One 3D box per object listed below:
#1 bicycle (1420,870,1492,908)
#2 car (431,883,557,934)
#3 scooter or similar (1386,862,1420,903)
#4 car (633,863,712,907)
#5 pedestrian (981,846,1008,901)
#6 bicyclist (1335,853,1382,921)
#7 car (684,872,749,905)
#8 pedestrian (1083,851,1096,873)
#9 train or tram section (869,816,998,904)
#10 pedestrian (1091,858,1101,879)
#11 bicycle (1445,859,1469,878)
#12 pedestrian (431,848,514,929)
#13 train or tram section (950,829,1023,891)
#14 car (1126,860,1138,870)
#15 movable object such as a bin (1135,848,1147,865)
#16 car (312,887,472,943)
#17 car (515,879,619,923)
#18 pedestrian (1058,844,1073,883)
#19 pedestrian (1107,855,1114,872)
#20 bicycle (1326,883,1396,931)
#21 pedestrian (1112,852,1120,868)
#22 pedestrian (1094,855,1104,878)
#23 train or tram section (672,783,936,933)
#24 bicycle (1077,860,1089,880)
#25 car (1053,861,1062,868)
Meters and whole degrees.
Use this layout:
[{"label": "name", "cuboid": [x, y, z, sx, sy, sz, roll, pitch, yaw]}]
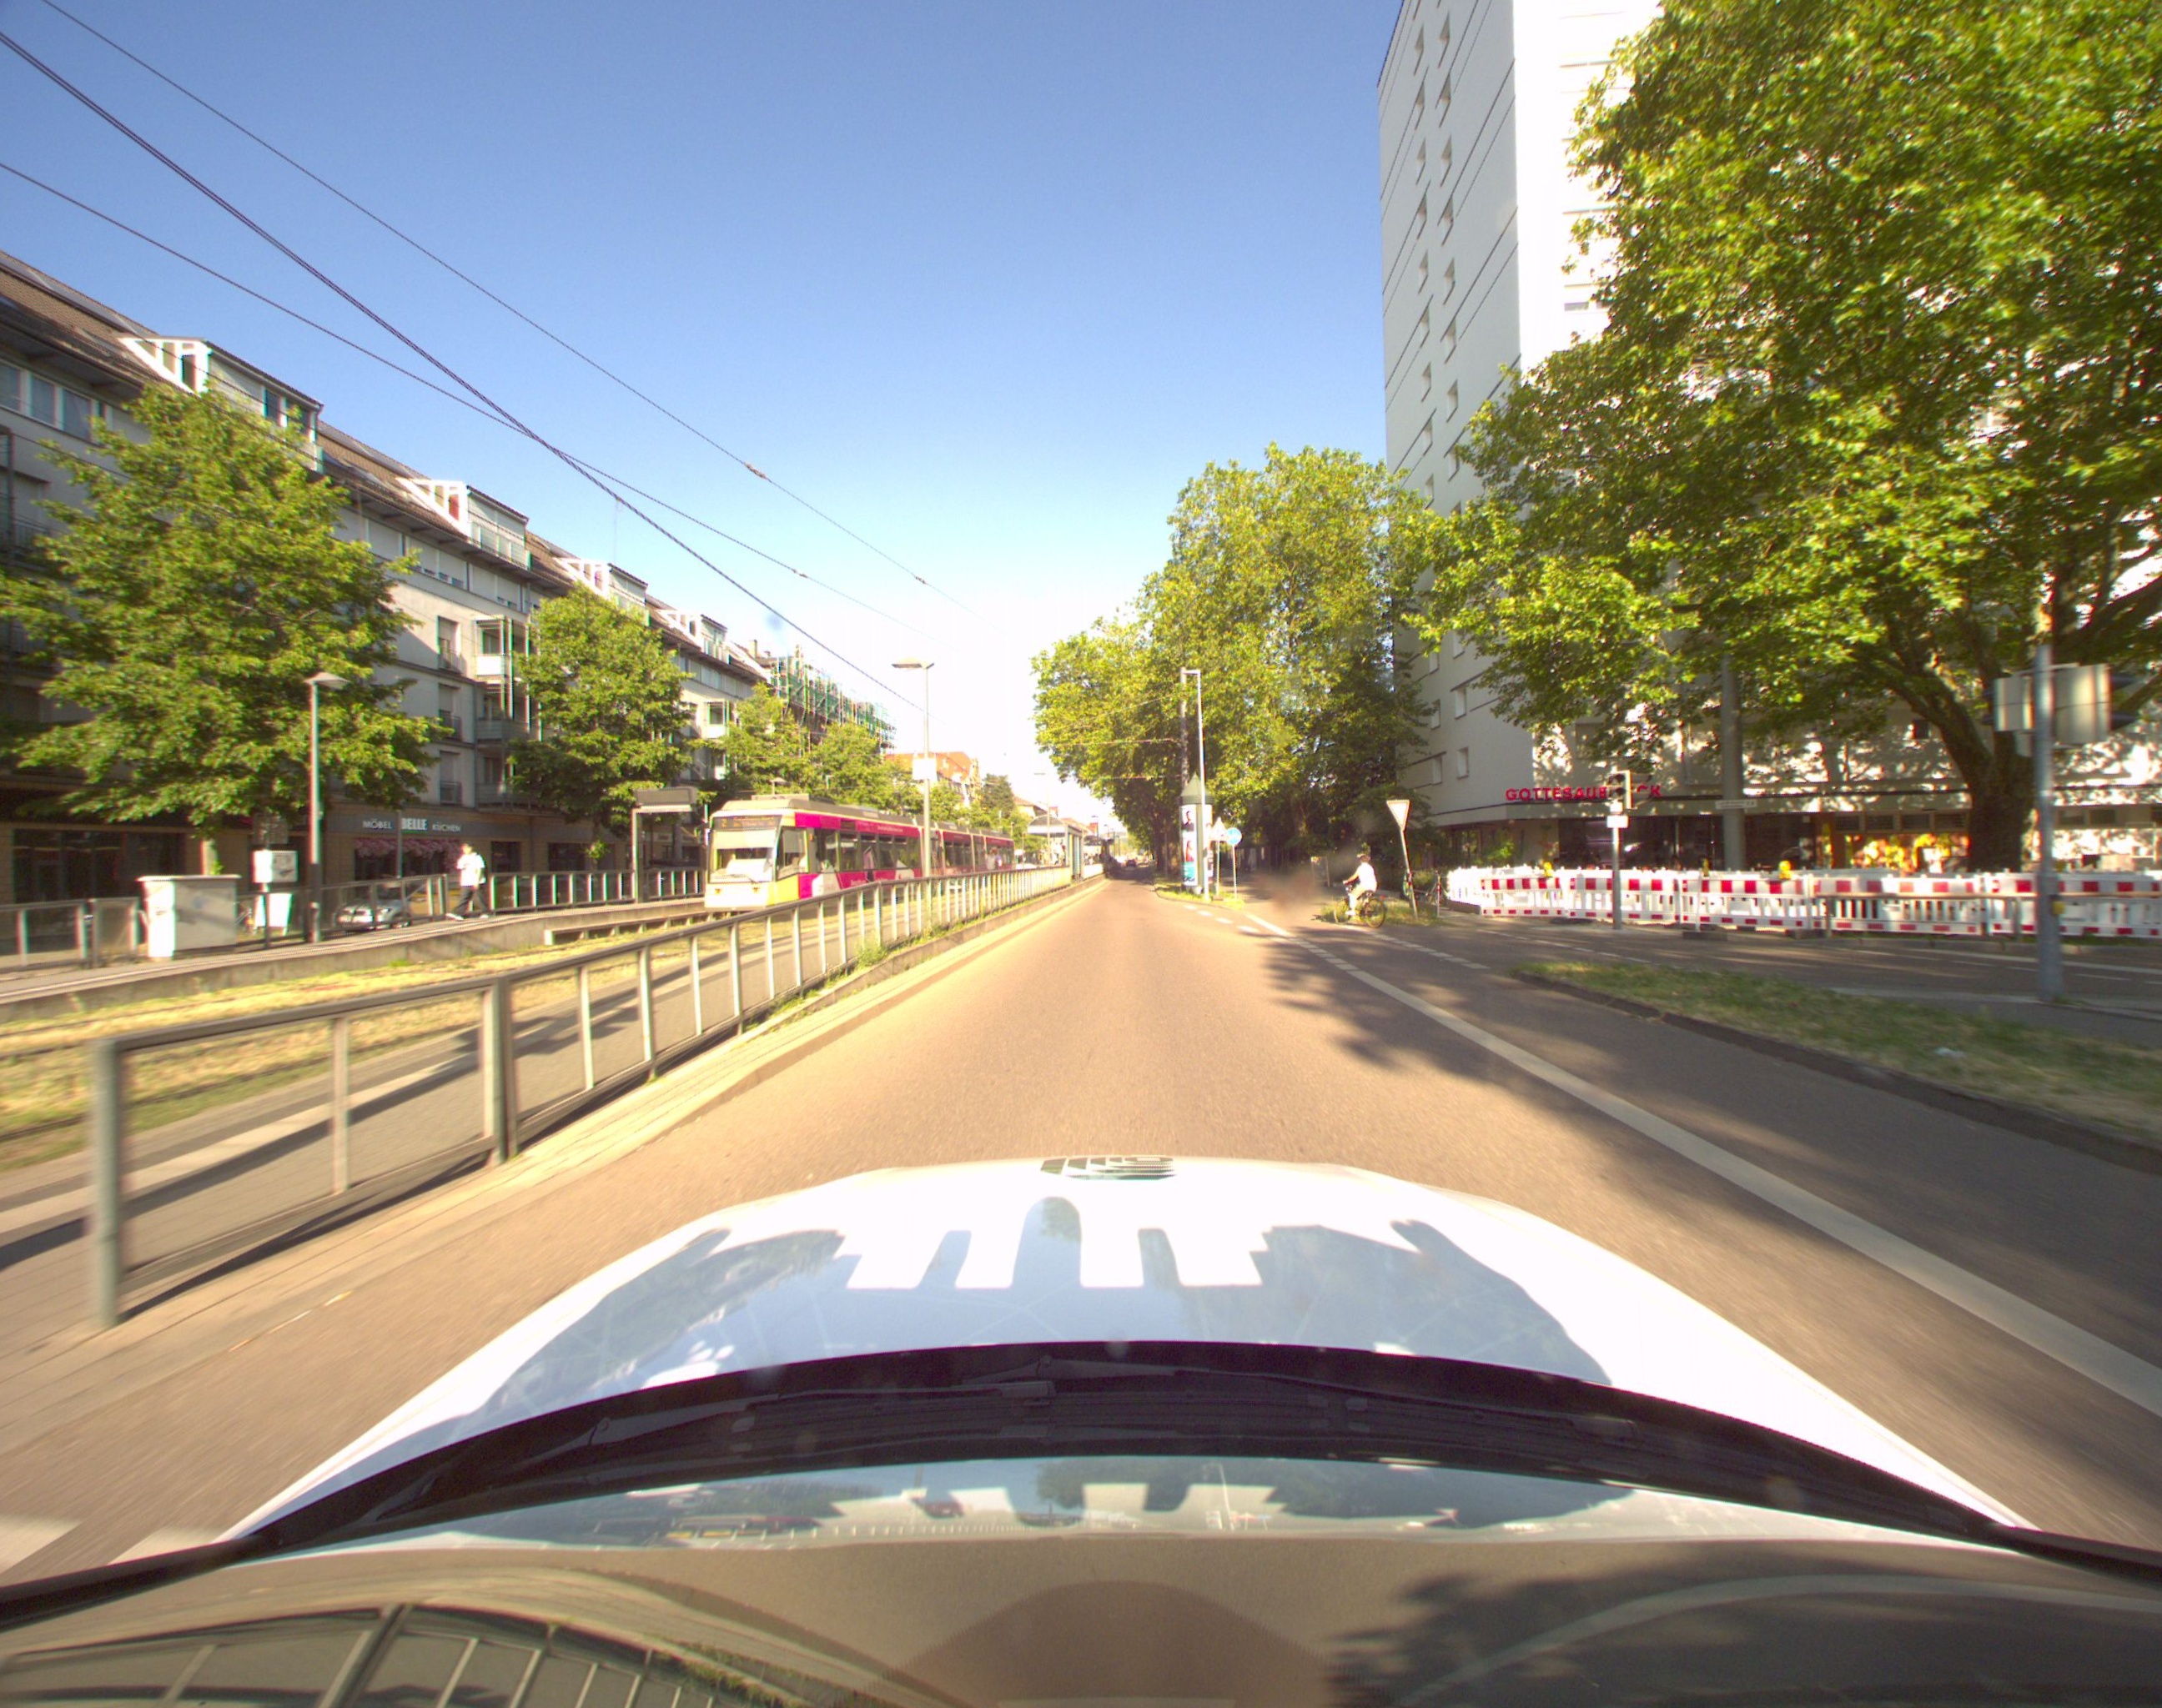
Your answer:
[{"label": "bicycle", "cuboid": [10.897, 0.996, 23.750, 0.606, 1.026, 1.935, -2, 1, -28]}, {"label": "car", "cuboid": [-21.946, 1.986, 30.656, 1.798, 1.677, 3.789, 0, -1, 4]}, {"label": "scooter or similar", "cuboid": [10.459, 0.920, 26.453, 0.558, 1.257, 1.290, -2, -1, 1]}, {"label": "car", "cuboid": [-21.085, 1.535, 42.212, 1.932, 2.166, 3.789, 0, -1, 4]}, {"label": "pedestrian", "cuboid": [-2.592, 0.590, 24.418, 0.627, 1.610, 0.983, 0, -1, 3]}, {"label": "bicyclist", "cuboid": [6.551, 0.760, 19.262, 0.605, 1.551, 0.854, -1, -1, -19]}, {"label": "car", "cuboid": [-20.730, 1.951, 46.466, 1.798, 1.729, 3.789, 0, -1, 4]}, {"label": "pedestrian", "cuboid": [0.681, 0.645, 66.257, 0.913, 1.722, 0.625, 1, -1, -30]}, {"label": "train or tram section", "cuboid": [-7.074, 0.314, 42.139, 2.856, 3.686, 14.577, -2, -1, 5]}, {"label": "pedestrian", "cuboid": [1.096, 1.071, 60.536, 0.675, 1.562, 0.852, 0, -1, 4]}, {"label": "bicycle", "cuboid": [23.478, 0.901, 50.915, 0.785, 1.177, 1.822, 0, -1, 4]}, {"label": "pedestrian", "cuboid": [-12.207, 0.681, 16.374, 0.896, 1.581, 0.958, 1, -1, 2]}, {"label": "train or tram section", "cuboid": [-6.085, 0.427, 54.216, 2.856, 3.686, 9.695, -2, -1, 4]}, {"label": "car", "cuboid": [9.090, 1.888, 144.274, 1.984, 1.684, 4.005, 0, -1, 4]}, {"label": "movable object such as a bin", "cuboid": [18.232, 0.781, 248.120, 3.074, 5.088, 8.900, -4, -1, 4]}, {"label": "car", "cuboid": [-22.216, 1.914, 26.482, 1.798, 1.578, 3.789, 0, -1, 4]}, {"label": "car", "cuboid": [-21.700, 1.943, 34.569, 1.798, 1.635, 3.789, 0, -1, 4]}, {"label": "pedestrian", "cuboid": [-0.750, 0.489, 40.474, 0.666, 1.902, 0.825, 0, -1, 3]}, {"label": "pedestrian", "cuboid": [2.930, 0.908, 81.150, 0.676, 1.690, 0.895, 0, -1, 4]}, {"label": "bicycle", "cuboid": [6.579, 1.226, 19.215, 0.605, 1.026, 1.755, -1, -1, -19]}, {"label": "pedestrian", "cuboid": [3.801, 0.626, 88.506, 0.753, 1.690, 0.679, 0, -1, 4]}, {"label": "pedestrian", "cuboid": [1.413, 1.001, 63.923, 0.761, 1.759, 0.695, 0, -1, 4]}, {"label": "train or tram section", "cuboid": [-8.235, 0.178, 27.635, 2.856, 3.676, 14.577, -2, -1, 5]}, {"label": "bicycle", "cuboid": [0.133, 0.944, 47.295, 0.511, 1.133, 2.106, 0, -1, 4]}, {"label": "car", "cuboid": [-6.754, 3.039, 235.525, 2.006, 1.754, 4.563, 0, 0, 4]}]
